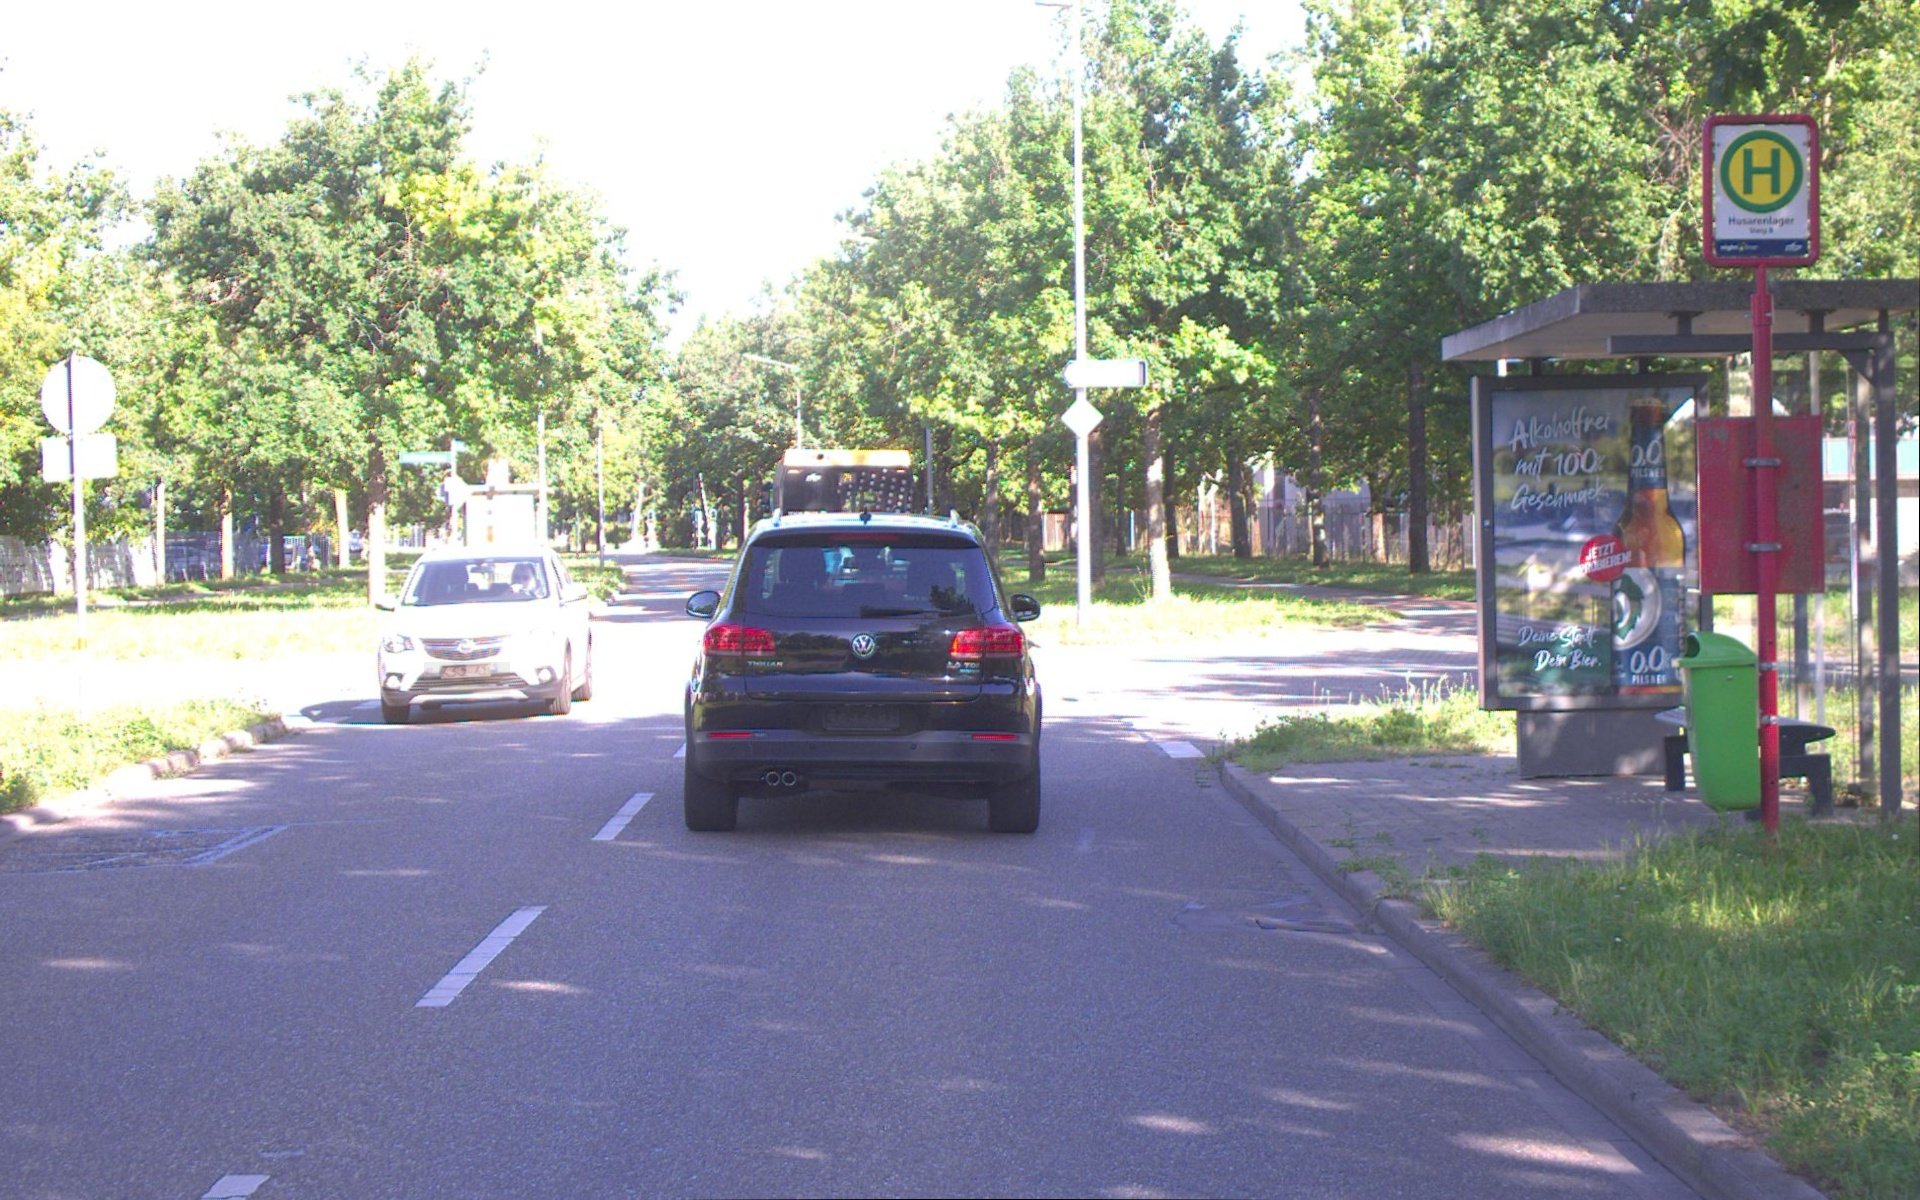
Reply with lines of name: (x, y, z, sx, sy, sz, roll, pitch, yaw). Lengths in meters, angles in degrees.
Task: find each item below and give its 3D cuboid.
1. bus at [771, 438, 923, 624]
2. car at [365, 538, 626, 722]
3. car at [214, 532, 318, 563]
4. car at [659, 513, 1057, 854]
bus: (-2.430, -1.421, 70.207, 2.764, 3.444, 11.213, -1, 1, -3)
car: (-4.106, 0.212, 31.019, 1.744, 1.460, 4.427, -2, 1, 0)
car: (-31.189, -2.380, 154.548, 4.198, 1.317, 1.941, -1, 1, 2)
car: (-0.514, 0.352, 19.061, 1.936, 1.650, 4.427, 1, 1, 0)
